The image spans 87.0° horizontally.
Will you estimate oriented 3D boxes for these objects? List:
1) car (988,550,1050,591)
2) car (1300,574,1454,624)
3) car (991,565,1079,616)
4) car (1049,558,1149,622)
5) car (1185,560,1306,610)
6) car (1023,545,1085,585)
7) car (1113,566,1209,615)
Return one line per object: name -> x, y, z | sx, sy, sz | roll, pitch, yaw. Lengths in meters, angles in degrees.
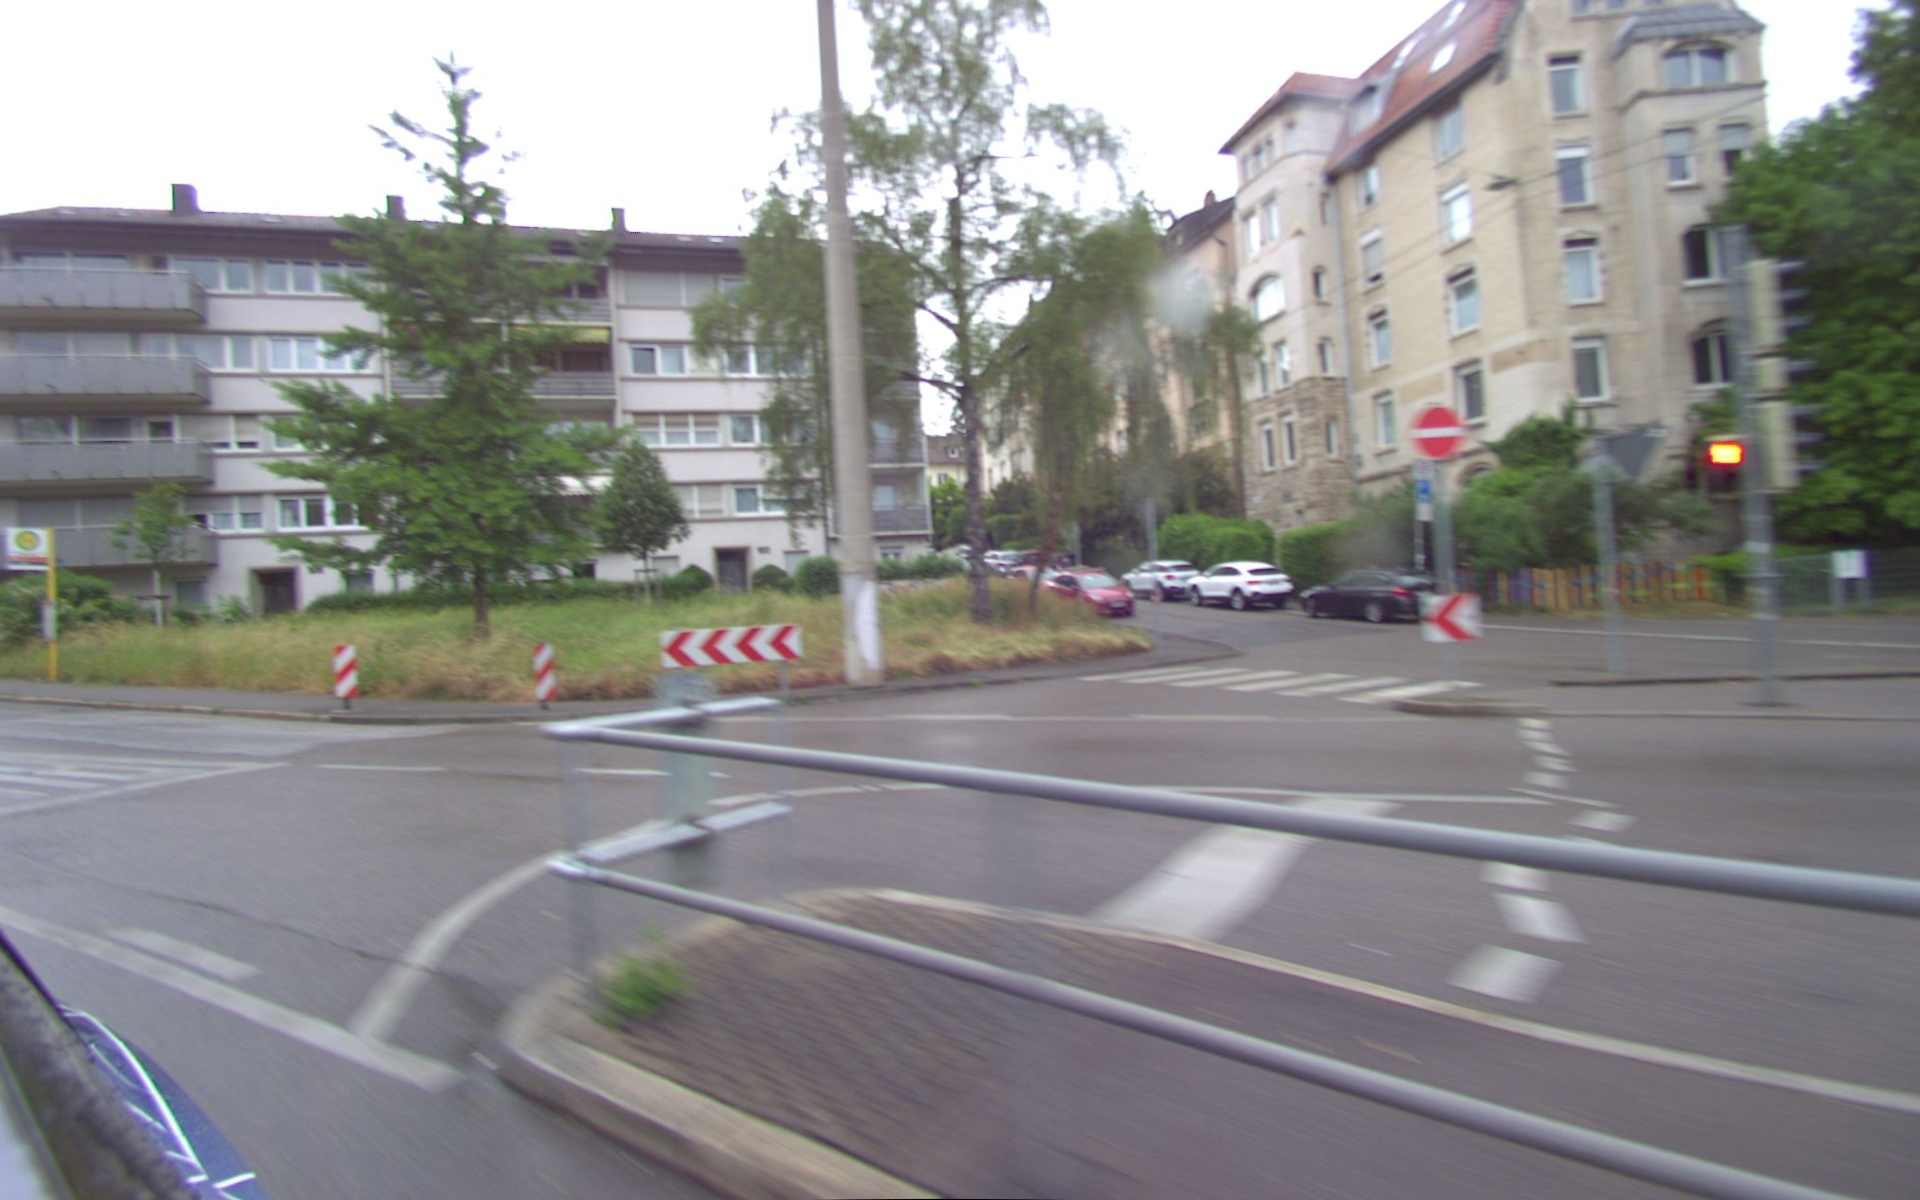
car -> 3.104, -1.535, 54.266 | 1.966, 2.029, 4.012 | -2, 0, -17
car -> 11.612, -0.085, 28.516 | 1.724, 1.232, 4.368 | -2, 2, -14
car -> 2.892, -0.351, 39.814 | 1.775, 1.848, 4.298 | -2, 0, -20
car -> 4.705, -0.308, 34.921 | 1.966, 2.029, 4.011 | -2, 0, -15
car -> 9.861, -0.488, 35.350 | 1.966, 1.605, 4.369 | -2, 0, -17
car -> 4.663, -1.719, 50.698 | 1.652, 1.848, 3.678 | -2, 0, -20
car -> 8.022, -0.332, 40.721 | 1.774, 1.849, 4.298 | -1, -1, -20
